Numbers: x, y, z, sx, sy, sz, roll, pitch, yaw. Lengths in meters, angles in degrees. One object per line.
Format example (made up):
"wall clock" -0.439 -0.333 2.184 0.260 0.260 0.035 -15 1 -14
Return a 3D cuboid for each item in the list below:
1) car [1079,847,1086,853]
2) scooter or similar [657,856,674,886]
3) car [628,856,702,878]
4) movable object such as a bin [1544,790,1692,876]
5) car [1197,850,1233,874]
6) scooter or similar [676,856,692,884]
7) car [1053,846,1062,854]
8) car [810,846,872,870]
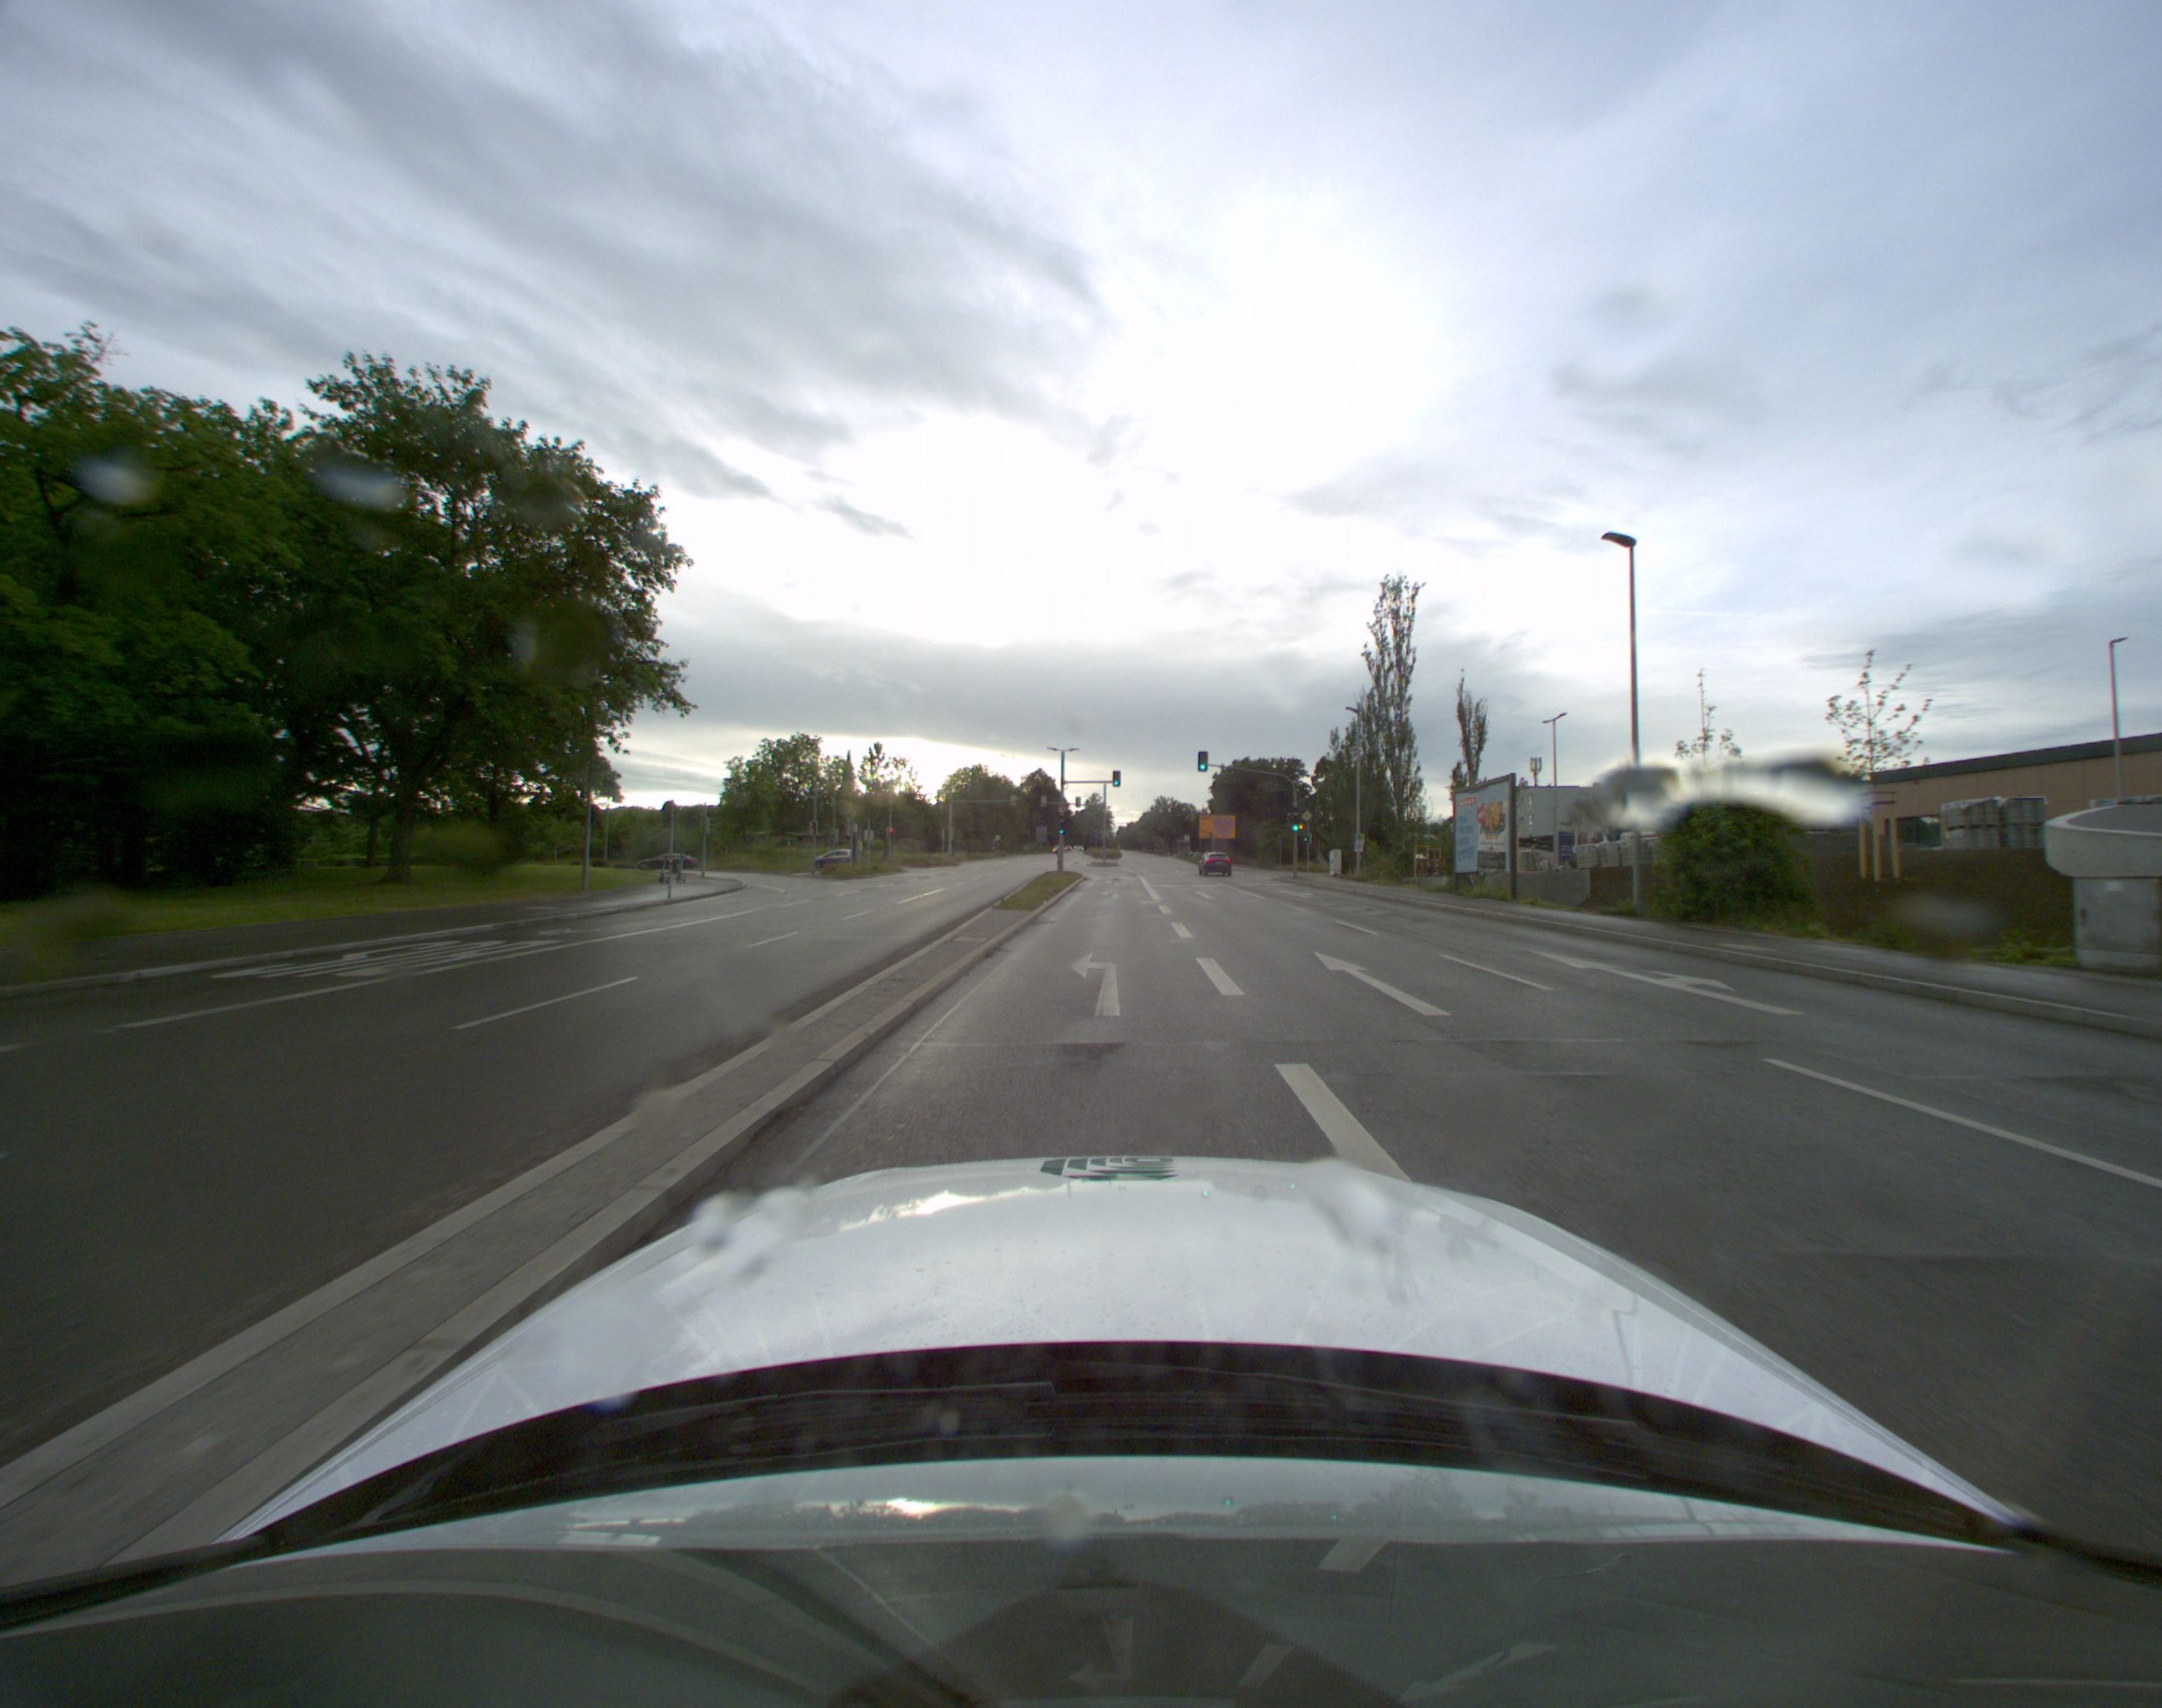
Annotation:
"car" 0.469 -1.228 244.450 1.886 1.534 4.491 1 0 2
"scooter or similar" -17.876 0.719 35.047 0.311 1.218 1.303 1 0 -11
"car" -33.309 1.068 65.313 4.638 1.583 2.170 2 -2 -3
"movable object such as a bin" 22.239 -0.838 34.098 2.298 3.276 5.415 1 0 -5
"car" 8.535 0.477 52.238 1.738 1.470 4.168 1 0 2
"scooter or similar" -17.903 0.701 36.743 0.311 1.218 1.303 1 0 -11
"car" -5.172 -0.861 181.312 1.762 1.596 4.491 1 0 2
"car" -19.215 0.325 65.313 4.163 1.718 2.086 2 -2 6
